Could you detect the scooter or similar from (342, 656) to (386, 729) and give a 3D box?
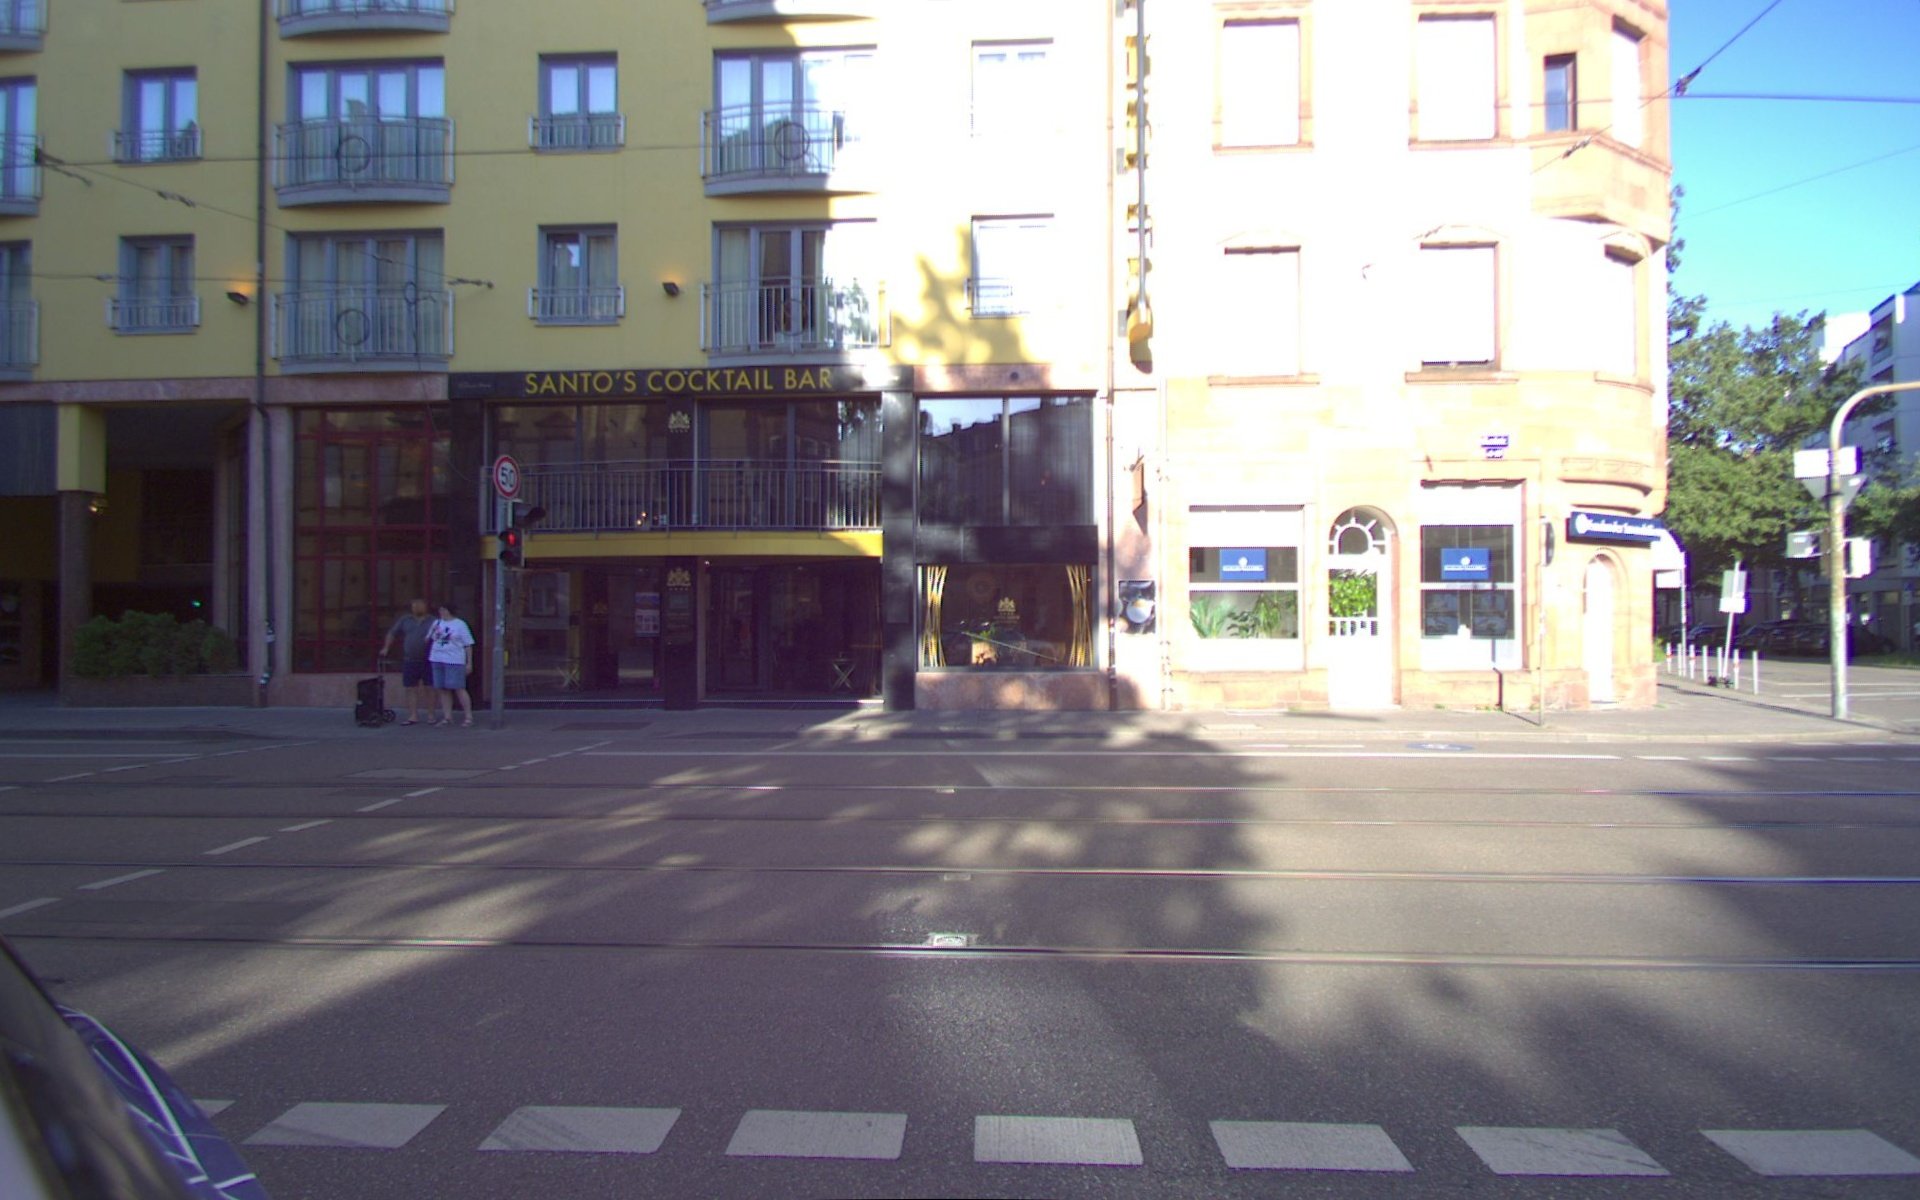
[{"bbox_3d":[-8.478,1.304,14.398,0.352,0.984,0.423,0,2,1],"label":"scooter or similar"}]

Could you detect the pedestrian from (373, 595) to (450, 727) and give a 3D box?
[{"bbox_3d":[-7.933,0.862,14.658,0.670,1.854,0.726,0,2,3],"label":"pedestrian"}]

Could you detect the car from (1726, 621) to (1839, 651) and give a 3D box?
[{"bbox_3d":[44.400,1.920,54.749,4.269,1.597,1.988,-1,-1,18],"label":"car"}]

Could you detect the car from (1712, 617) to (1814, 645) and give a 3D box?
[{"bbox_3d":[47.514,1.820,60.005,4.271,1.597,1.987,-1,-1,20],"label":"car"}]

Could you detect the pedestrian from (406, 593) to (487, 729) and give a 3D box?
[{"bbox_3d":[-7.286,0.848,14.384,0.726,1.854,0.726,0,2,3],"label":"pedestrian"}]

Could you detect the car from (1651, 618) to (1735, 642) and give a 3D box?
[{"bbox_3d":[50.841,2.087,70.289,4.271,1.597,1.987,-1,-1,20],"label":"car"}]

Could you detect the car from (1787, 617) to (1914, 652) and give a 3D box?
[{"bbox_3d":[41.887,1.618,47.701,3.967,1.597,1.988,-1,-1,18],"label":"car"}]

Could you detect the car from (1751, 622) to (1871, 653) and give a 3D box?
[{"bbox_3d":[43.919,1.925,52.361,4.269,1.597,1.988,-1,-1,18],"label":"car"}]

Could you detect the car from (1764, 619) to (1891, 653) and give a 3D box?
[{"bbox_3d":[42.812,1.765,50.046,4.269,1.597,1.988,-1,-1,18],"label":"car"}]

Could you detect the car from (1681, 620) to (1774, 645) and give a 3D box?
[{"bbox_3d":[49.462,2.094,65.316,4.271,1.597,1.987,-1,-1,20],"label":"car"}]

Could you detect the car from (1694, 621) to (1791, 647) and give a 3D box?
[{"bbox_3d":[48.670,2.103,63.052,4.271,1.597,1.987,-1,-1,20],"label":"car"}]
